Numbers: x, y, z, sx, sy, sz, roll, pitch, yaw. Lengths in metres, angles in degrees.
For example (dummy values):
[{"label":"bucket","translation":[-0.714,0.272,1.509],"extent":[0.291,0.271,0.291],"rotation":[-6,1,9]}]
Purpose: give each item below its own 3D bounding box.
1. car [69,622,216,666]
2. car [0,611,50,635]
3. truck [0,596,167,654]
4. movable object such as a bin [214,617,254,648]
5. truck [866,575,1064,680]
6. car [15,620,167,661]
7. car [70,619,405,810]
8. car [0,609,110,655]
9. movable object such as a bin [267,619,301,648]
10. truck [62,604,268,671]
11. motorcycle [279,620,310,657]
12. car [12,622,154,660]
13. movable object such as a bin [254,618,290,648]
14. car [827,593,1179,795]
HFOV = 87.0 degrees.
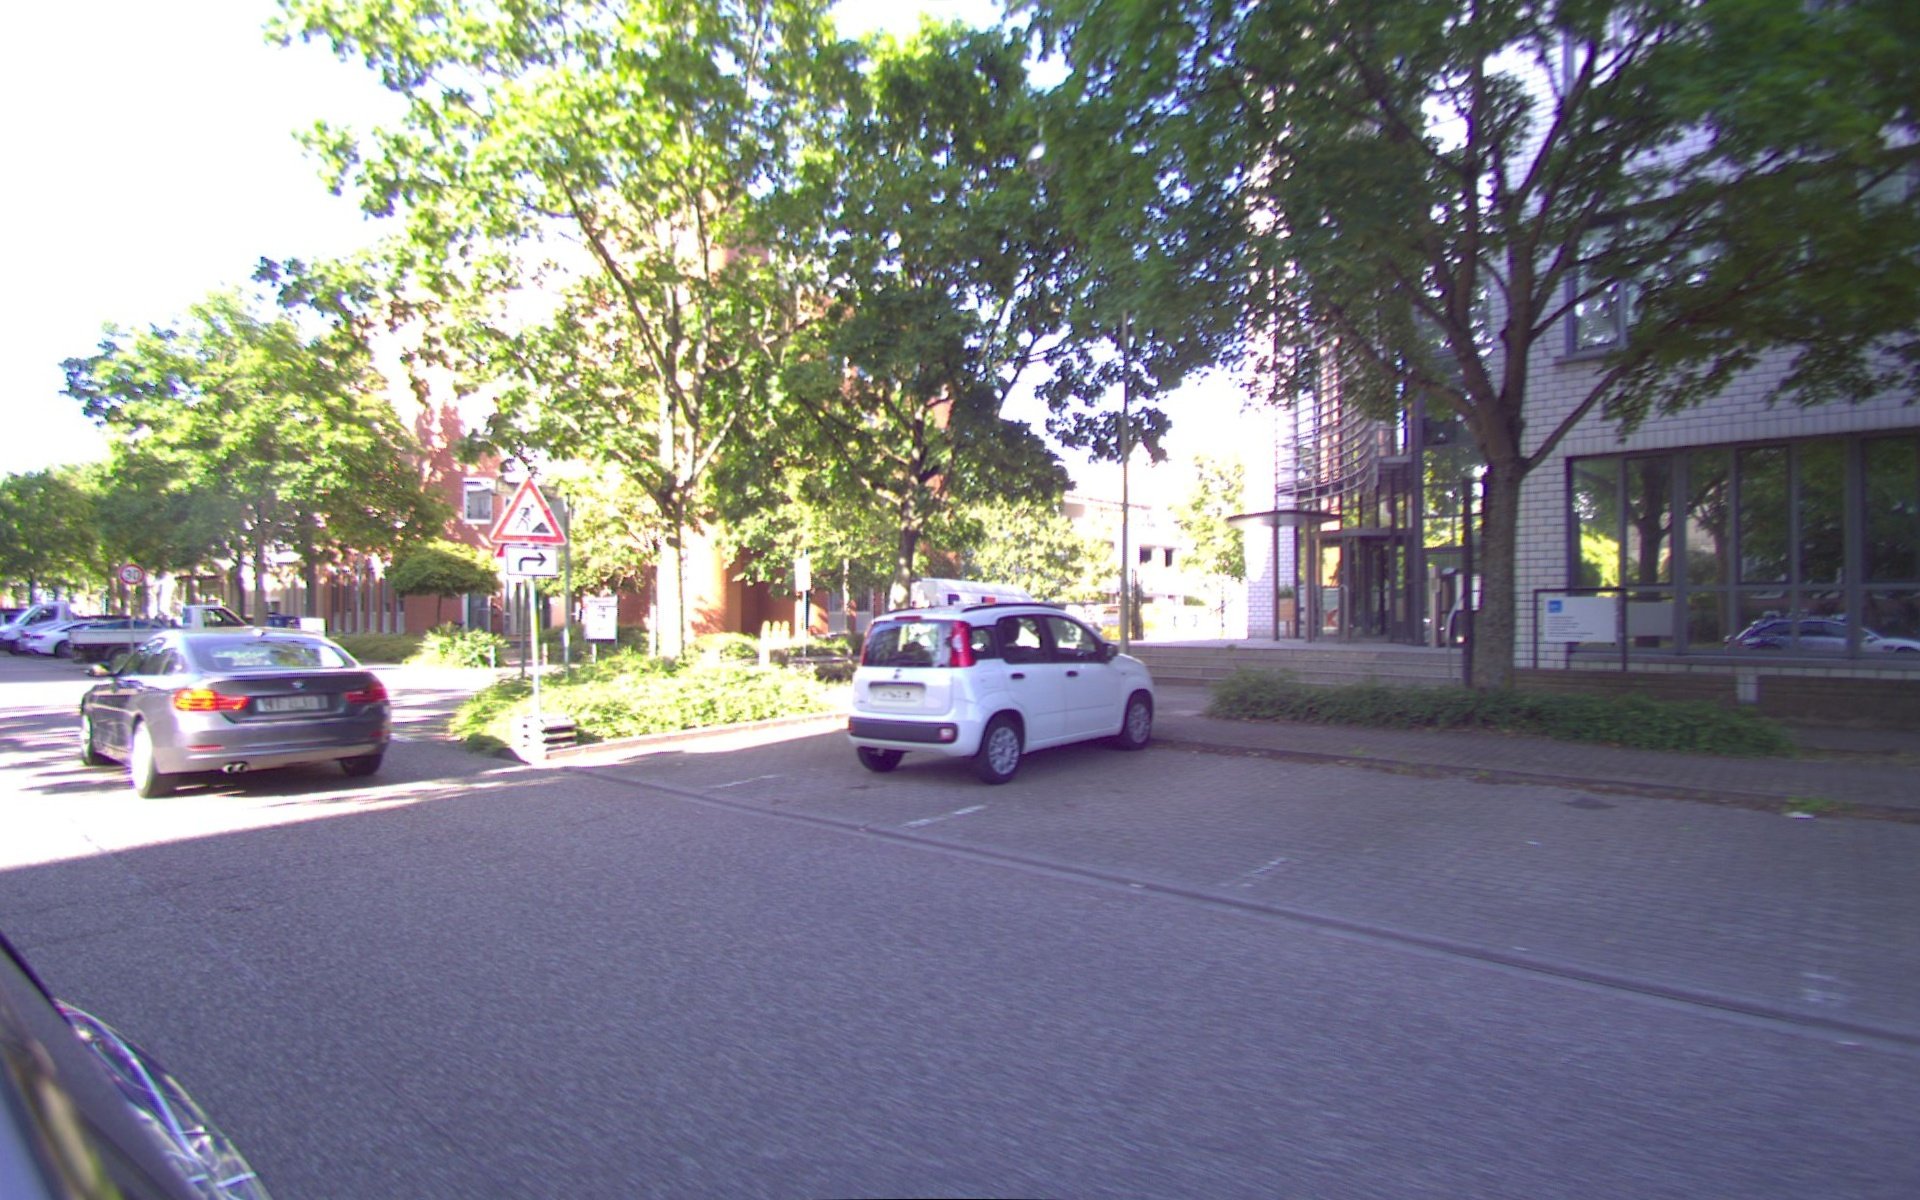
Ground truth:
[{"label":"car","translation":[-29.186,1.532,36.191],"extent":[3.941,1.446,1.790],"rotation":[1,-2,-45]},{"label":"car","translation":[-60.945,1.464,64.885],"extent":[1.754,1.463,3.715],"rotation":[-2,0,42]},{"label":"truck","translation":[-39.923,1.139,45.721],"extent":[2.187,2.440,6.165],"rotation":[-1,-2,42]},{"label":"movable object such as a bin","translation":[-42.579,1.895,59.366],"extent":[1.664,1.810,1.581],"rotation":[-2,-2,43]},{"label":"truck","translation":[0.303,0.819,29.568],"extent":[2.576,2.725,6.042],"rotation":[-1,-2,39]},{"label":"car","translation":[-35.587,1.633,41.562],"extent":[1.888,1.453,4.495],"rotation":[-3,-1,40]},{"label":"car","translation":[-6.996,0.910,9.639],"extent":[4.107,1.426,1.793],"rotation":[-1,-2,43]},{"label":"car","translation":[-44.154,1.521,48.920],"extent":[1.998,2.067,4.437],"rotation":[-1,0,39]},{"label":"movable object such as a bin","translation":[-37.293,1.847,55.847],"extent":[1.239,1.575,1.137],"rotation":[-1,-2,29]},{"label":"truck","translation":[-25.451,1.185,32.523],"extent":[2.138,1.974,4.930],"rotation":[-1,-2,43]},{"label":"motorcycle","translation":[-34.685,2.003,52.723],"extent":[2.109,1.602,0.707],"rotation":[9,4,40]},{"label":"car","translation":[-37.653,1.729,43.524],"extent":[1.998,1.498,4.382],"rotation":[-1,-1,40]},{"label":"movable object such as a bin","translation":[-38.423,1.825,56.514],"extent":[1.436,1.632,1.137],"rotation":[-1,-2,29]},{"label":"car","translation":[0.569,0.764,9.907],"extent":[1.636,1.561,3.545],"rotation":[2,1,39]}]
